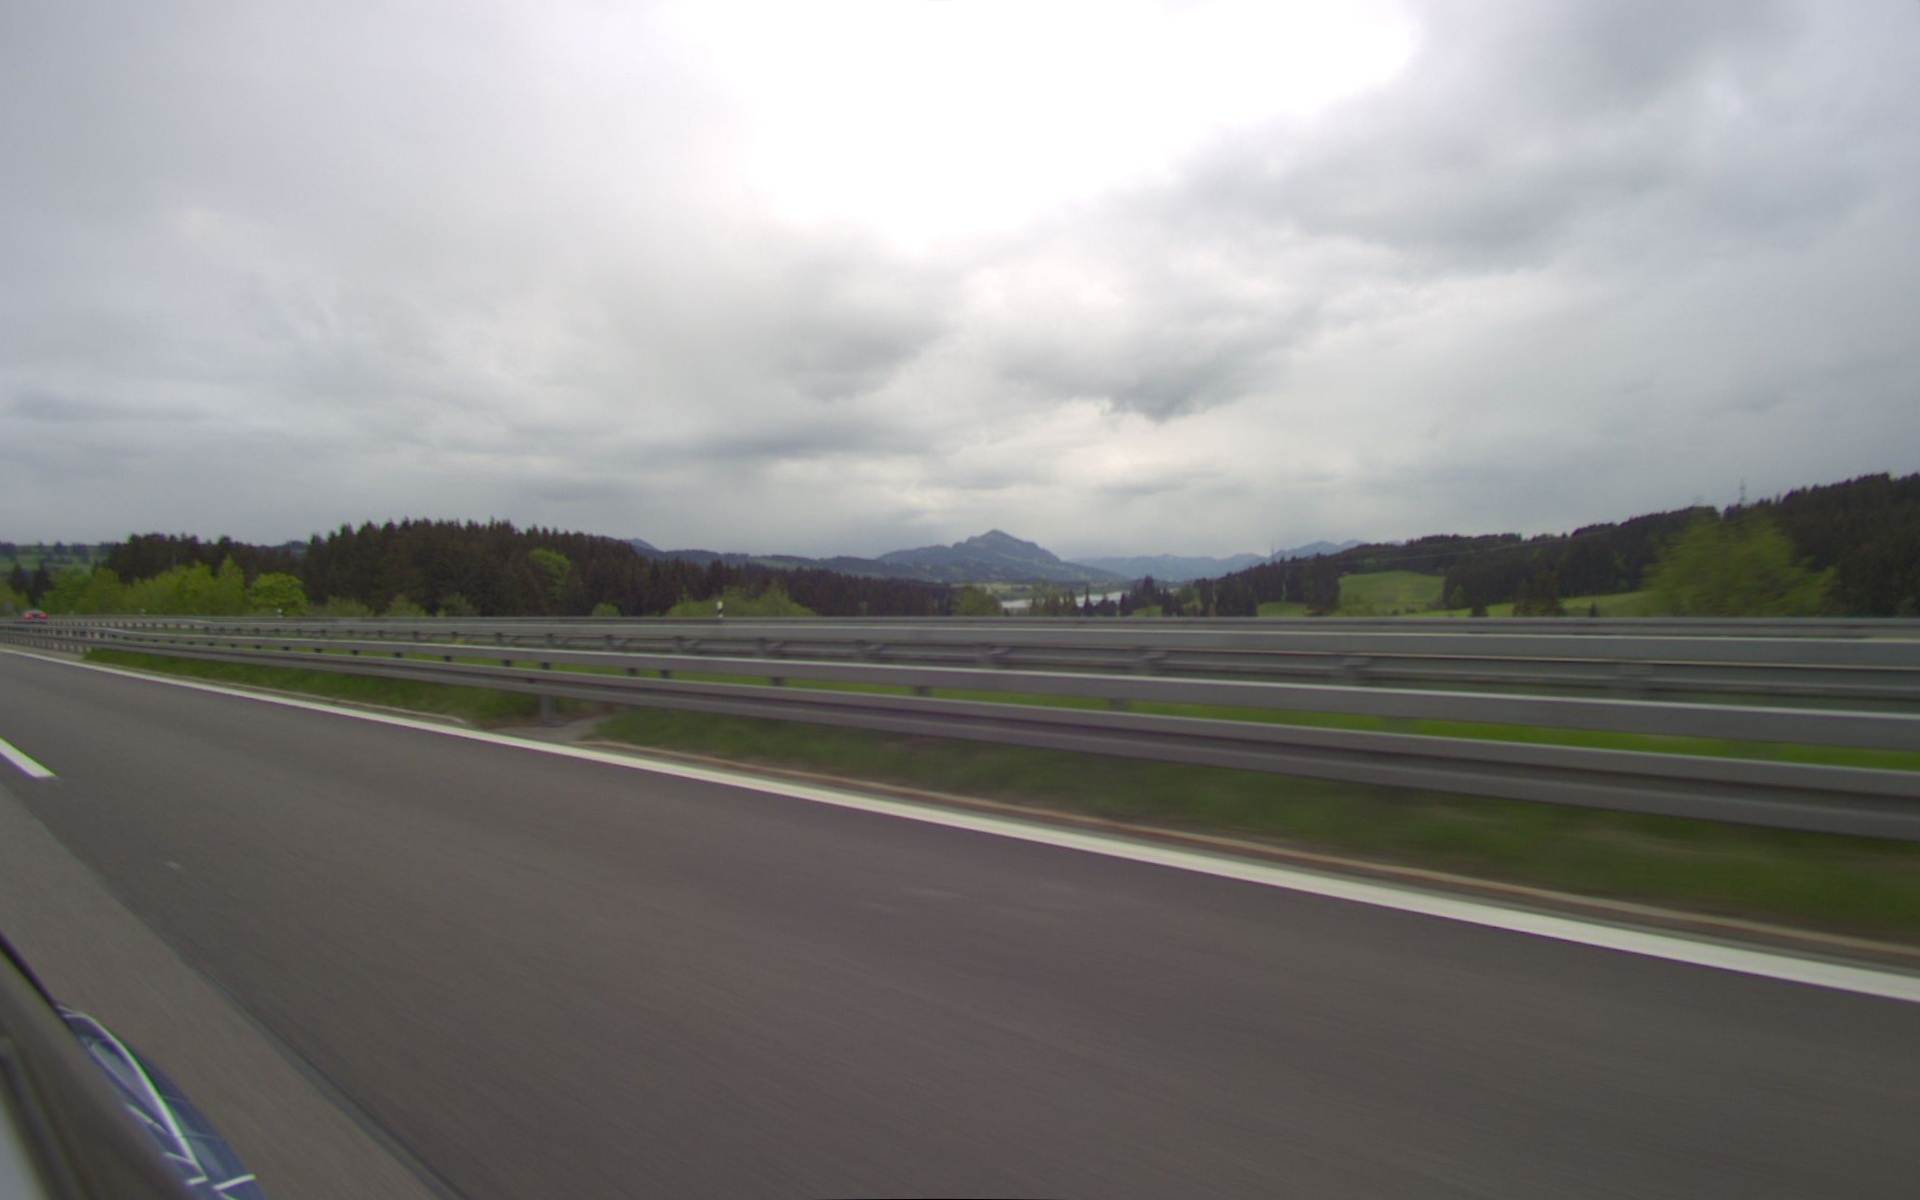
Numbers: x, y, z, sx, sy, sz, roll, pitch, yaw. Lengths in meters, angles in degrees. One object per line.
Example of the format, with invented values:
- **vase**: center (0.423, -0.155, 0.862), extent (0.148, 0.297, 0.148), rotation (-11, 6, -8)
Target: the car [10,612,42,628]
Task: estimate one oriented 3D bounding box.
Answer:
- **car**: center (-102.539, 2.191, 111.113), extent (4.844, 1.629, 1.973), rotation (-1, 1, 40)
